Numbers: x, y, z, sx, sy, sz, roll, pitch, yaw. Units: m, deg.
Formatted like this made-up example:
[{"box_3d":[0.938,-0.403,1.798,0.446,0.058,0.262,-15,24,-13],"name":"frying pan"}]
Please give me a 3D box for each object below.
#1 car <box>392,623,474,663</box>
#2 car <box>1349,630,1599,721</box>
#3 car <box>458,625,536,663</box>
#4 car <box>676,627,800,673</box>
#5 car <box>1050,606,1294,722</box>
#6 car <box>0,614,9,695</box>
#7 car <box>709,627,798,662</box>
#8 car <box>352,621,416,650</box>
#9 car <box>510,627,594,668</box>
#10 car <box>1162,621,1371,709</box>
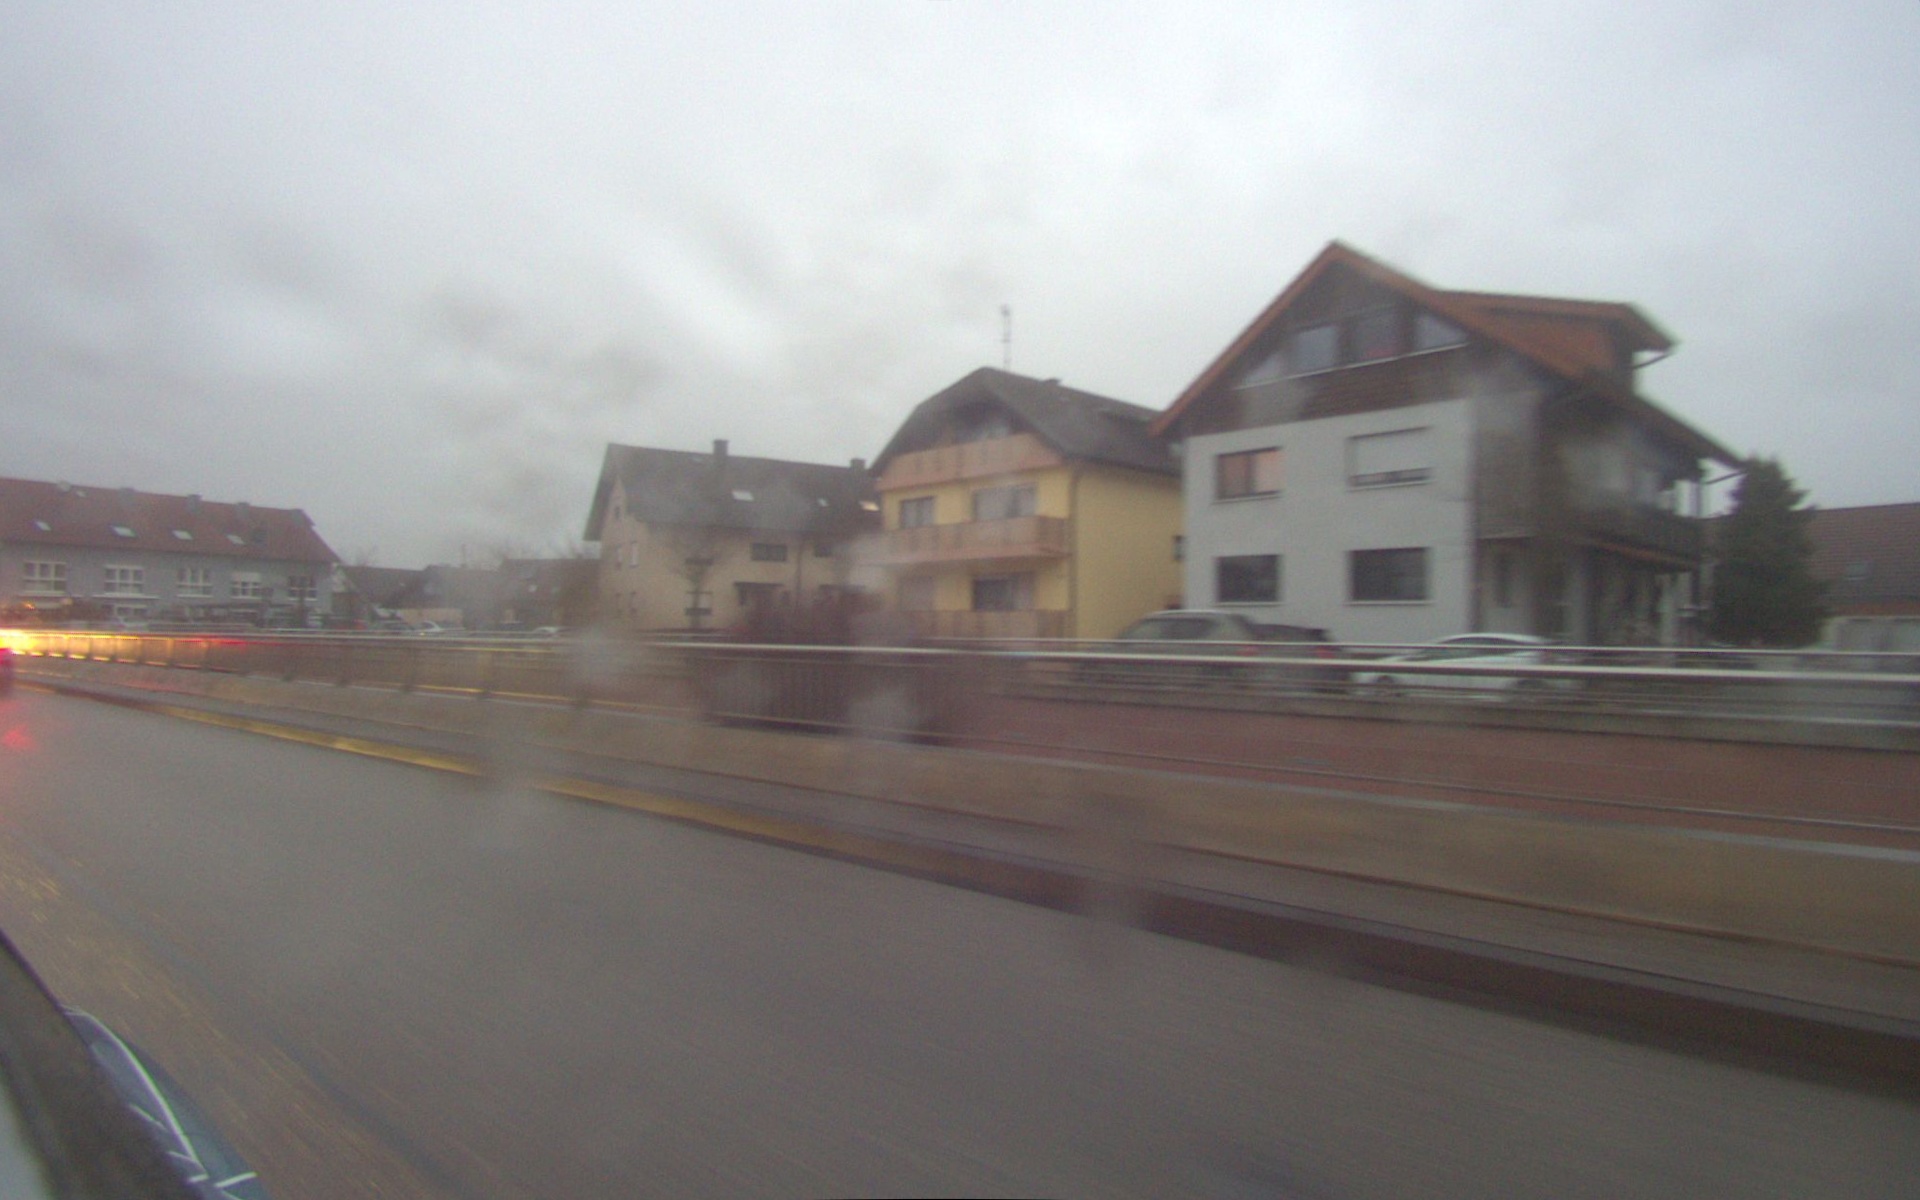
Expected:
[{"box_3d":[-27.146,2.191,52.093,4.348,1.919,1.976,-1,0,36],"name":"car"},{"box_3d":[9.902,1.383,19.685,4.031,1.535,1.749,-1,-2,43],"name":"car"},{"box_3d":[-21.525,2.013,46.989,3.999,1.529,1.876,0,1,42],"name":"car"},{"box_3d":[-7.655,1.657,34.620,4.649,1.453,1.856,-1,-2,44],"name":"car"},{"box_3d":[3.683,1.055,17.856,3.857,1.817,1.782,-1,-2,39],"name":"car"},{"box_3d":[-20.477,1.100,20.192,3.777,1.548,1.715,-1,0,40],"name":"car"},{"box_3d":[-10.323,2.180,50.613,3.972,1.535,1.819,-1,0,-31],"name":"car"},{"box_3d":[-31.522,1.894,55.328,3.827,1.425,1.661,0,1,37],"name":"car"},{"box_3d":[-17.745,2.047,43.910,3.984,1.636,1.797,-2,0,42],"name":"car"},{"box_3d":[6.674,1.344,22.285,3.999,1.694,1.838,-1,0,42],"name":"car"}]
